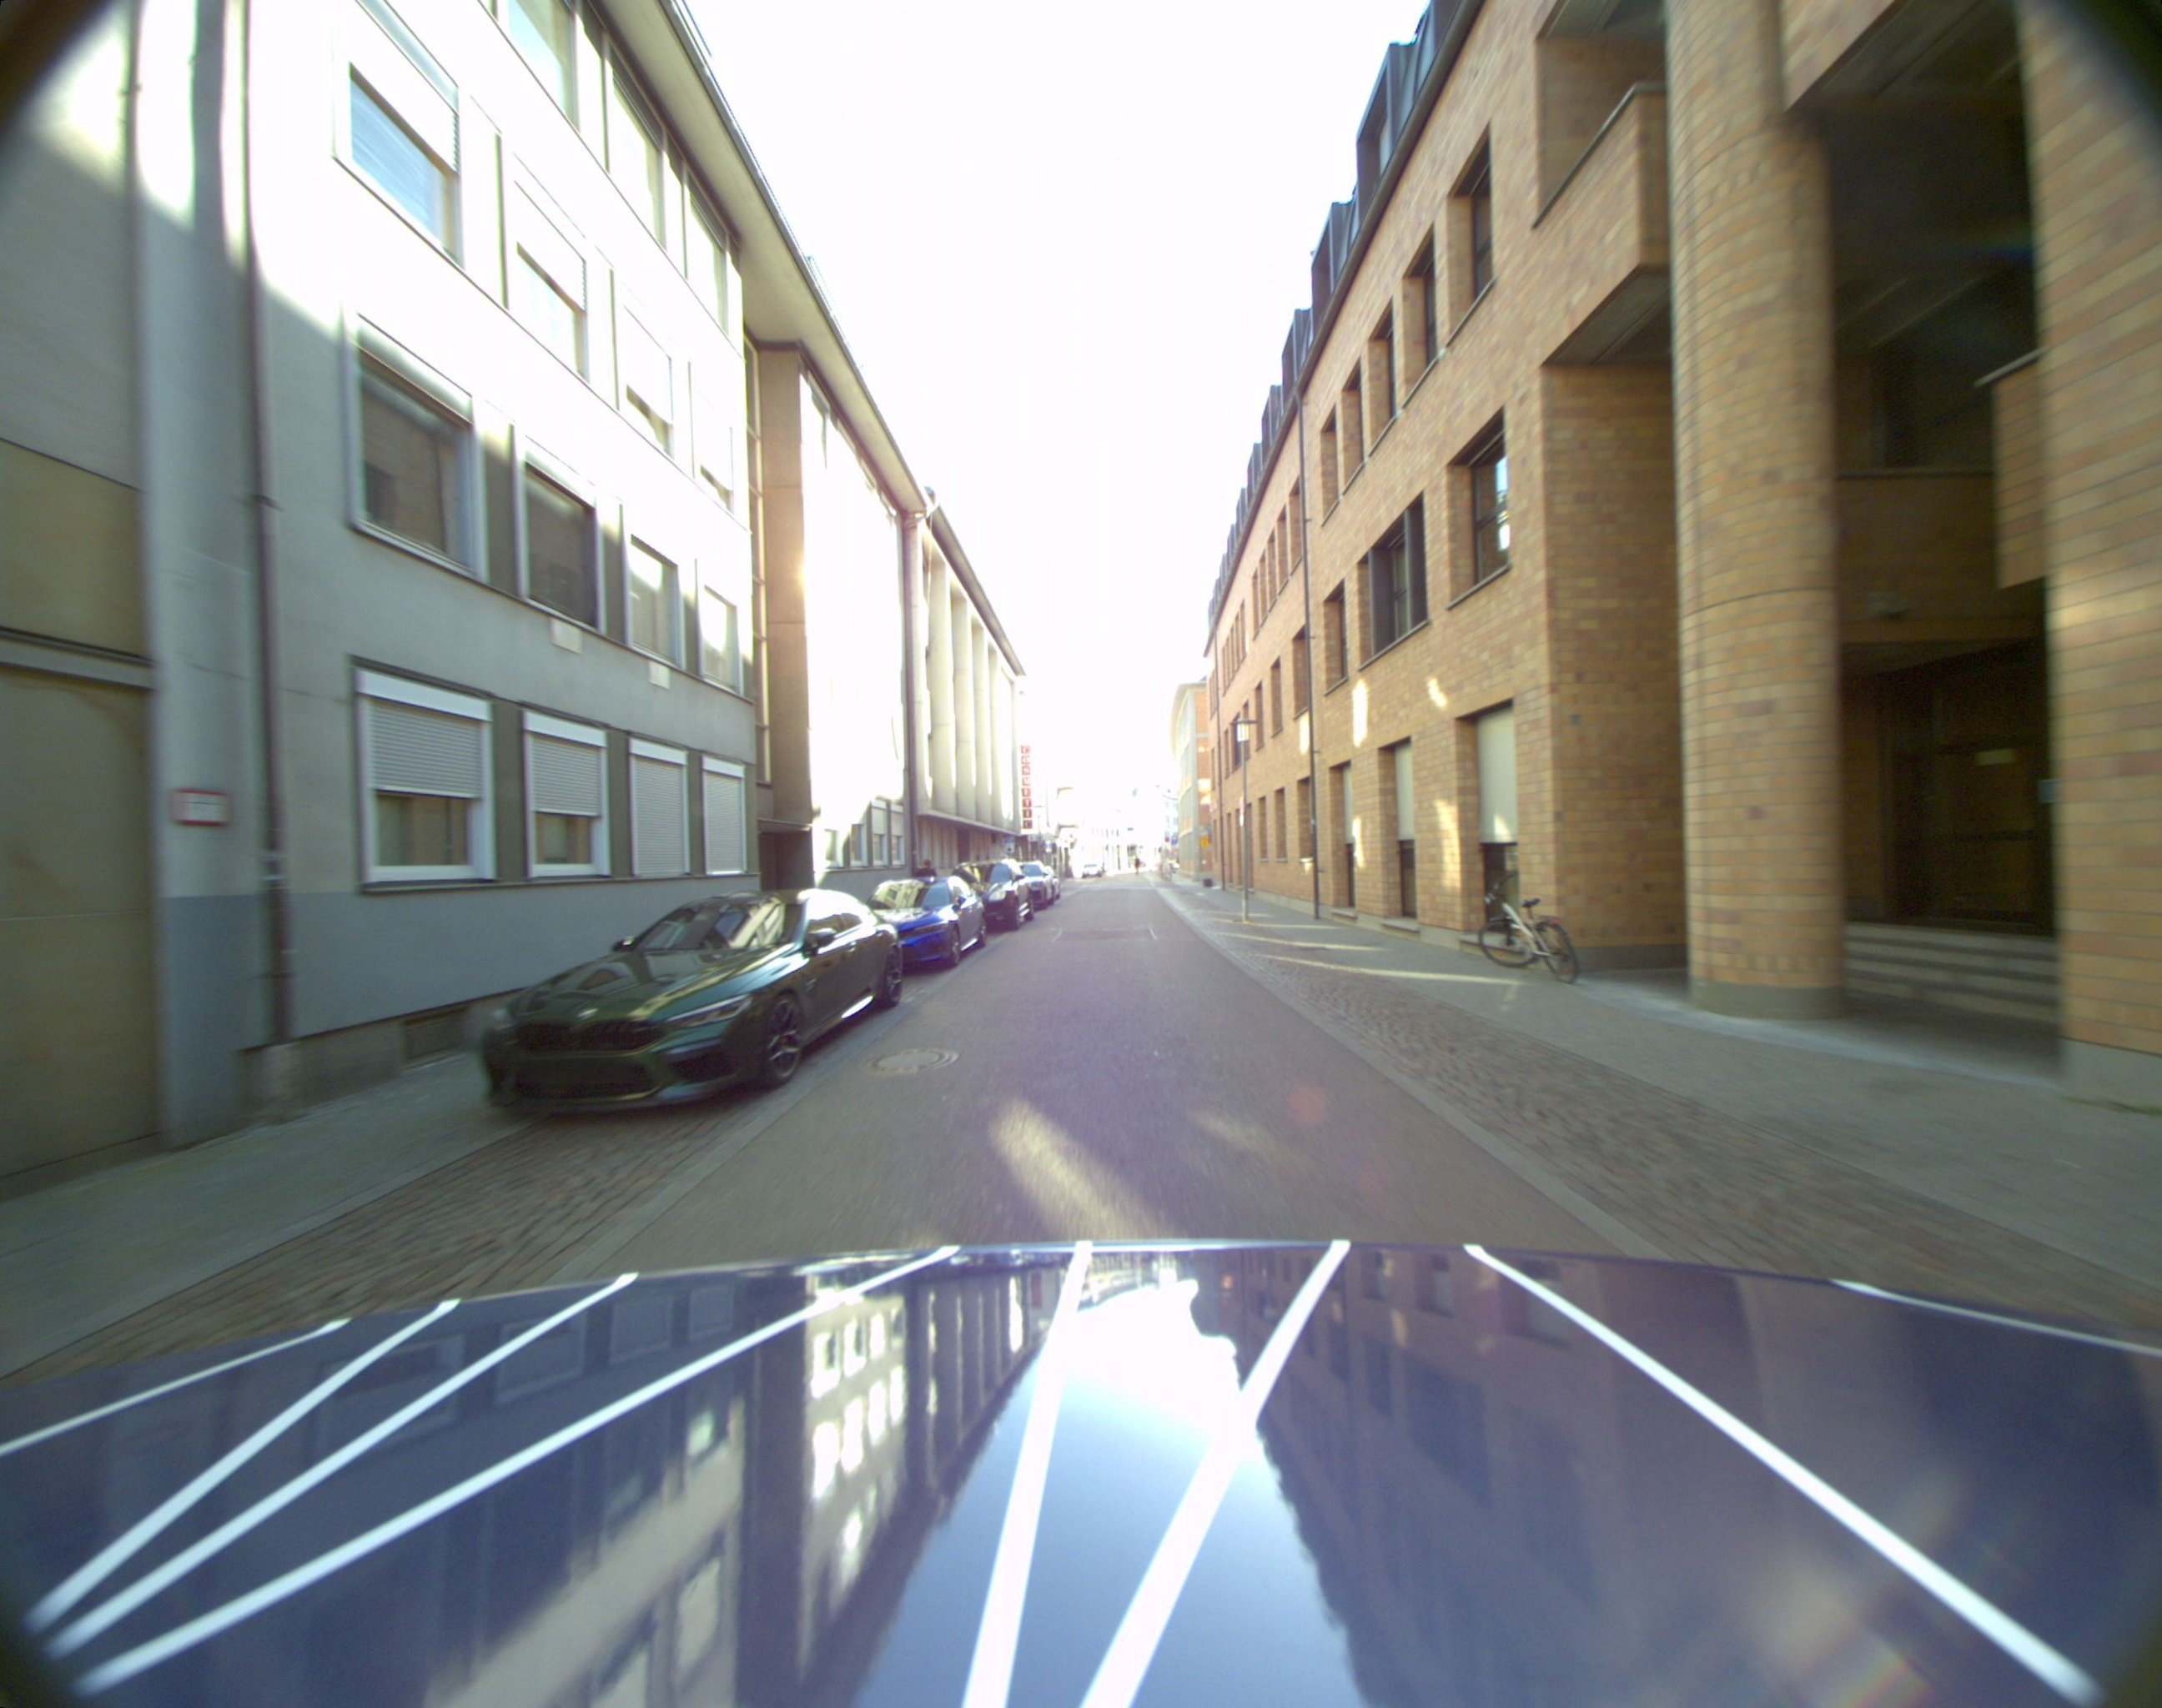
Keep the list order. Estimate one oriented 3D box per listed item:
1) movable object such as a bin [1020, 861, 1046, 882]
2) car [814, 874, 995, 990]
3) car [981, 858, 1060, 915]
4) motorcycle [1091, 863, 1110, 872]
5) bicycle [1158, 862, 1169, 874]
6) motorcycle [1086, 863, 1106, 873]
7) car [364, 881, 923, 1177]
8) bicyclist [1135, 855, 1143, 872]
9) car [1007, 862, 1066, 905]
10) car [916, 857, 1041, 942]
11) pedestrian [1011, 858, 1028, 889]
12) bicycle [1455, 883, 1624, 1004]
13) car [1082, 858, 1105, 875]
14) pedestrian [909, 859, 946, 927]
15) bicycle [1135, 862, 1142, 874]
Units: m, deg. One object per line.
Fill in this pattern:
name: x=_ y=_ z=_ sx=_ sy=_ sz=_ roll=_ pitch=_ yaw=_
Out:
movable object such as a bin: x=-3.461 y=1.269 z=55.192 sx=1.437 sy=1.454 sz=1.126 roll=-2 pitch=0 yaw=-38
car: x=-2.772 y=1.172 z=13.158 sx=1.811 sy=1.404 sz=4.790 roll=-4 pitch=0 yaw=1
car: x=-2.000 y=1.052 z=26.702 sx=1.998 sy=1.692 sz=4.844 roll=-4 pitch=0 yaw=3
motorcycle: x=2.128 y=1.508 z=83.537 sx=1.995 sy=0.950 sz=0.646 roll=-2 pitch=0 yaw=18
bicycle: x=7.243 y=1.224 z=66.830 sx=0.627 sy=1.047 sz=1.822 roll=-2 pitch=0 yaw=-2
motorcycle: x=1.561 y=1.433 z=79.659 sx=1.995 sy=0.950 sz=0.646 roll=-2 pitch=0 yaw=18
car: x=-3.083 y=1.114 z=7.005 sx=1.898 sy=1.444 sz=5.226 roll=-3 pitch=0 yaw=2
bicyclist: x=5.463 y=0.889 z=72.022 sx=0.663 sy=1.633 sz=0.926 roll=2 pitch=1 yaw=6
car: x=-1.797 y=1.193 z=32.141 sx=1.827 sy=1.496 sz=4.601 roll=-5 pitch=0 yaw=4
car: x=-2.403 y=1.013 z=19.330 sx=2.108 sy=1.775 sz=5.053 roll=-3 pitch=0 yaw=3
pedestrian: x=-3.458 y=1.091 z=42.760 sx=0.623 sy=1.726 sz=0.625 roll=-2 pitch=0 yaw=-43
bicycle: x=5.200 y=0.963 z=8.776 sx=0.633 sy=1.155 sz=1.803 roll=-5 pitch=0 yaw=-6
car: x=1.227 y=1.188 z=72.444 sx=1.846 sy=1.453 sz=4.000 roll=-3 pitch=0 yaw=5
pedestrian: x=-3.979 y=0.992 z=19.718 sx=0.790 sy=1.711 sz=0.746 roll=0 pitch=0 yaw=3
bicycle: x=5.444 y=1.311 z=71.978 sx=0.652 sy=1.125 sz=1.736 roll=2 pitch=1 yaw=6
